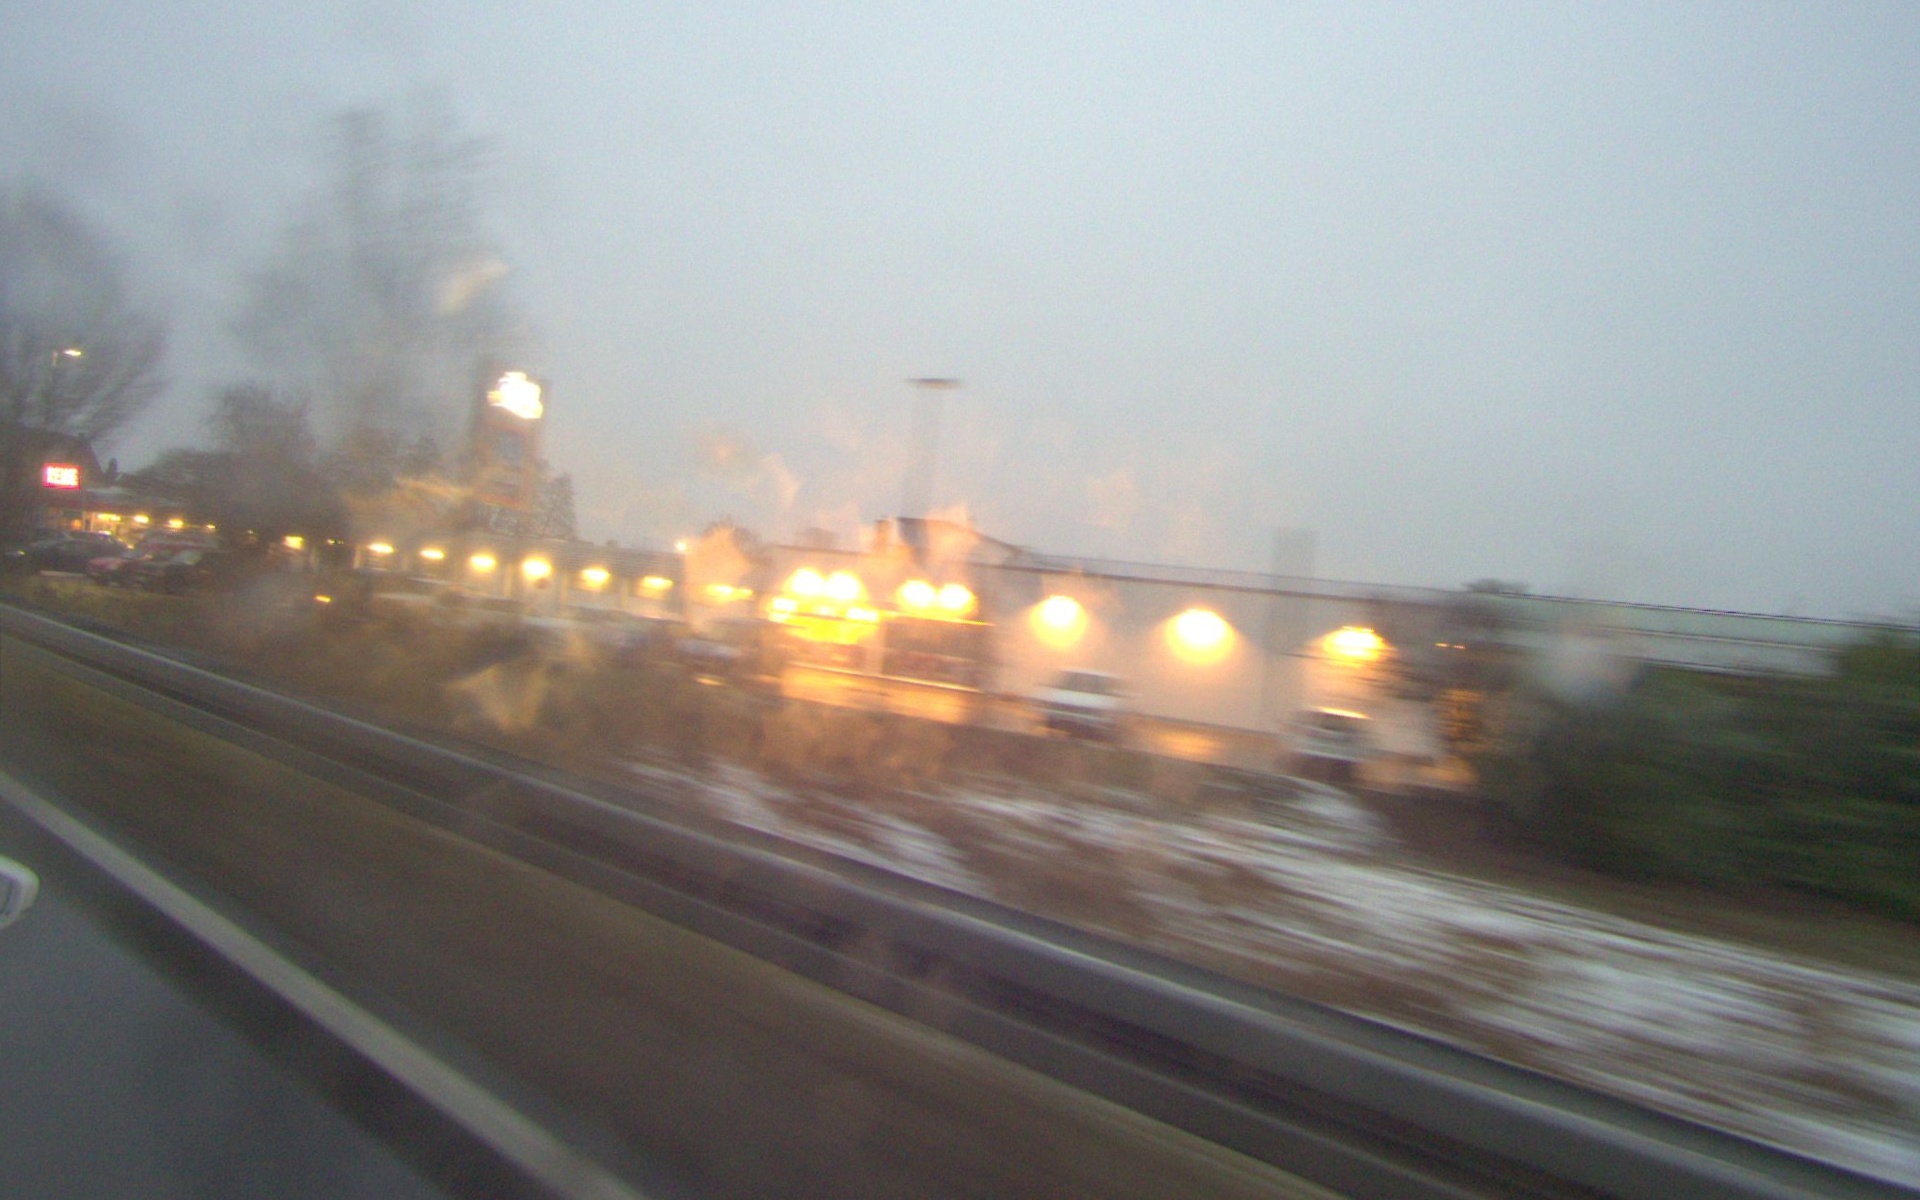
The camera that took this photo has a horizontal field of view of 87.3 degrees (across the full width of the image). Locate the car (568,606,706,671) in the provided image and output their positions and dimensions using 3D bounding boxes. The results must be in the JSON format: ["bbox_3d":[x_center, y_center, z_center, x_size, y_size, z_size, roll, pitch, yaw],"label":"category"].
[{"bbox_3d":[-9.469,1.200,29.869,1.962,1.494,3.882,7,-3,15],"label":"car"}]

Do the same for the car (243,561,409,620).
[{"bbox_3d":[-21.064,-0.263,33.706,1.631,1.507,4.740,5,-2,16],"label":"car"}]

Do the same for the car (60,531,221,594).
[{"bbox_3d":[-30.283,-1.348,37.364,1.983,1.745,4.145,6,-2,14],"label":"car"}]

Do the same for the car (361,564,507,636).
[{"bbox_3d":[-17.067,0.049,32.907,1.631,1.855,4.147,5,-3,17],"label":"car"}]

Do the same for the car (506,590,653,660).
[{"bbox_3d":[-11.656,0.848,31.150,1.962,1.647,4.268,8,-3,15],"label":"car"}]

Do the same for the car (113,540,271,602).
[{"bbox_3d":[-27.821,-0.995,36.617,1.983,1.750,4.145,5,-2,13],"label":"car"}]

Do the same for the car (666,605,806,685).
[{"bbox_3d":[-6.284,1.317,28.763,1.962,1.876,4.265,7,-1,15],"label":"car"}]

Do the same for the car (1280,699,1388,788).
[{"bbox_3d":[8.648,3.260,23.546,1.963,1.534,4.197,9,-2,19],"label":"car"}]

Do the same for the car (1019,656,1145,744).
[{"bbox_3d":[3.174,2.490,25.224,1.963,1.734,4.410,7,-2,21],"label":"car"}]

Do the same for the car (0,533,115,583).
[{"bbox_3d":[-35.050,-1.626,38.608,1.632,1.439,3.550,5,-3,22],"label":"car"}]

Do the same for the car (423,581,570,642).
[{"bbox_3d":[-14.499,0.400,31.723,1.631,1.438,4.144,7,-2,20],"label":"car"}]
